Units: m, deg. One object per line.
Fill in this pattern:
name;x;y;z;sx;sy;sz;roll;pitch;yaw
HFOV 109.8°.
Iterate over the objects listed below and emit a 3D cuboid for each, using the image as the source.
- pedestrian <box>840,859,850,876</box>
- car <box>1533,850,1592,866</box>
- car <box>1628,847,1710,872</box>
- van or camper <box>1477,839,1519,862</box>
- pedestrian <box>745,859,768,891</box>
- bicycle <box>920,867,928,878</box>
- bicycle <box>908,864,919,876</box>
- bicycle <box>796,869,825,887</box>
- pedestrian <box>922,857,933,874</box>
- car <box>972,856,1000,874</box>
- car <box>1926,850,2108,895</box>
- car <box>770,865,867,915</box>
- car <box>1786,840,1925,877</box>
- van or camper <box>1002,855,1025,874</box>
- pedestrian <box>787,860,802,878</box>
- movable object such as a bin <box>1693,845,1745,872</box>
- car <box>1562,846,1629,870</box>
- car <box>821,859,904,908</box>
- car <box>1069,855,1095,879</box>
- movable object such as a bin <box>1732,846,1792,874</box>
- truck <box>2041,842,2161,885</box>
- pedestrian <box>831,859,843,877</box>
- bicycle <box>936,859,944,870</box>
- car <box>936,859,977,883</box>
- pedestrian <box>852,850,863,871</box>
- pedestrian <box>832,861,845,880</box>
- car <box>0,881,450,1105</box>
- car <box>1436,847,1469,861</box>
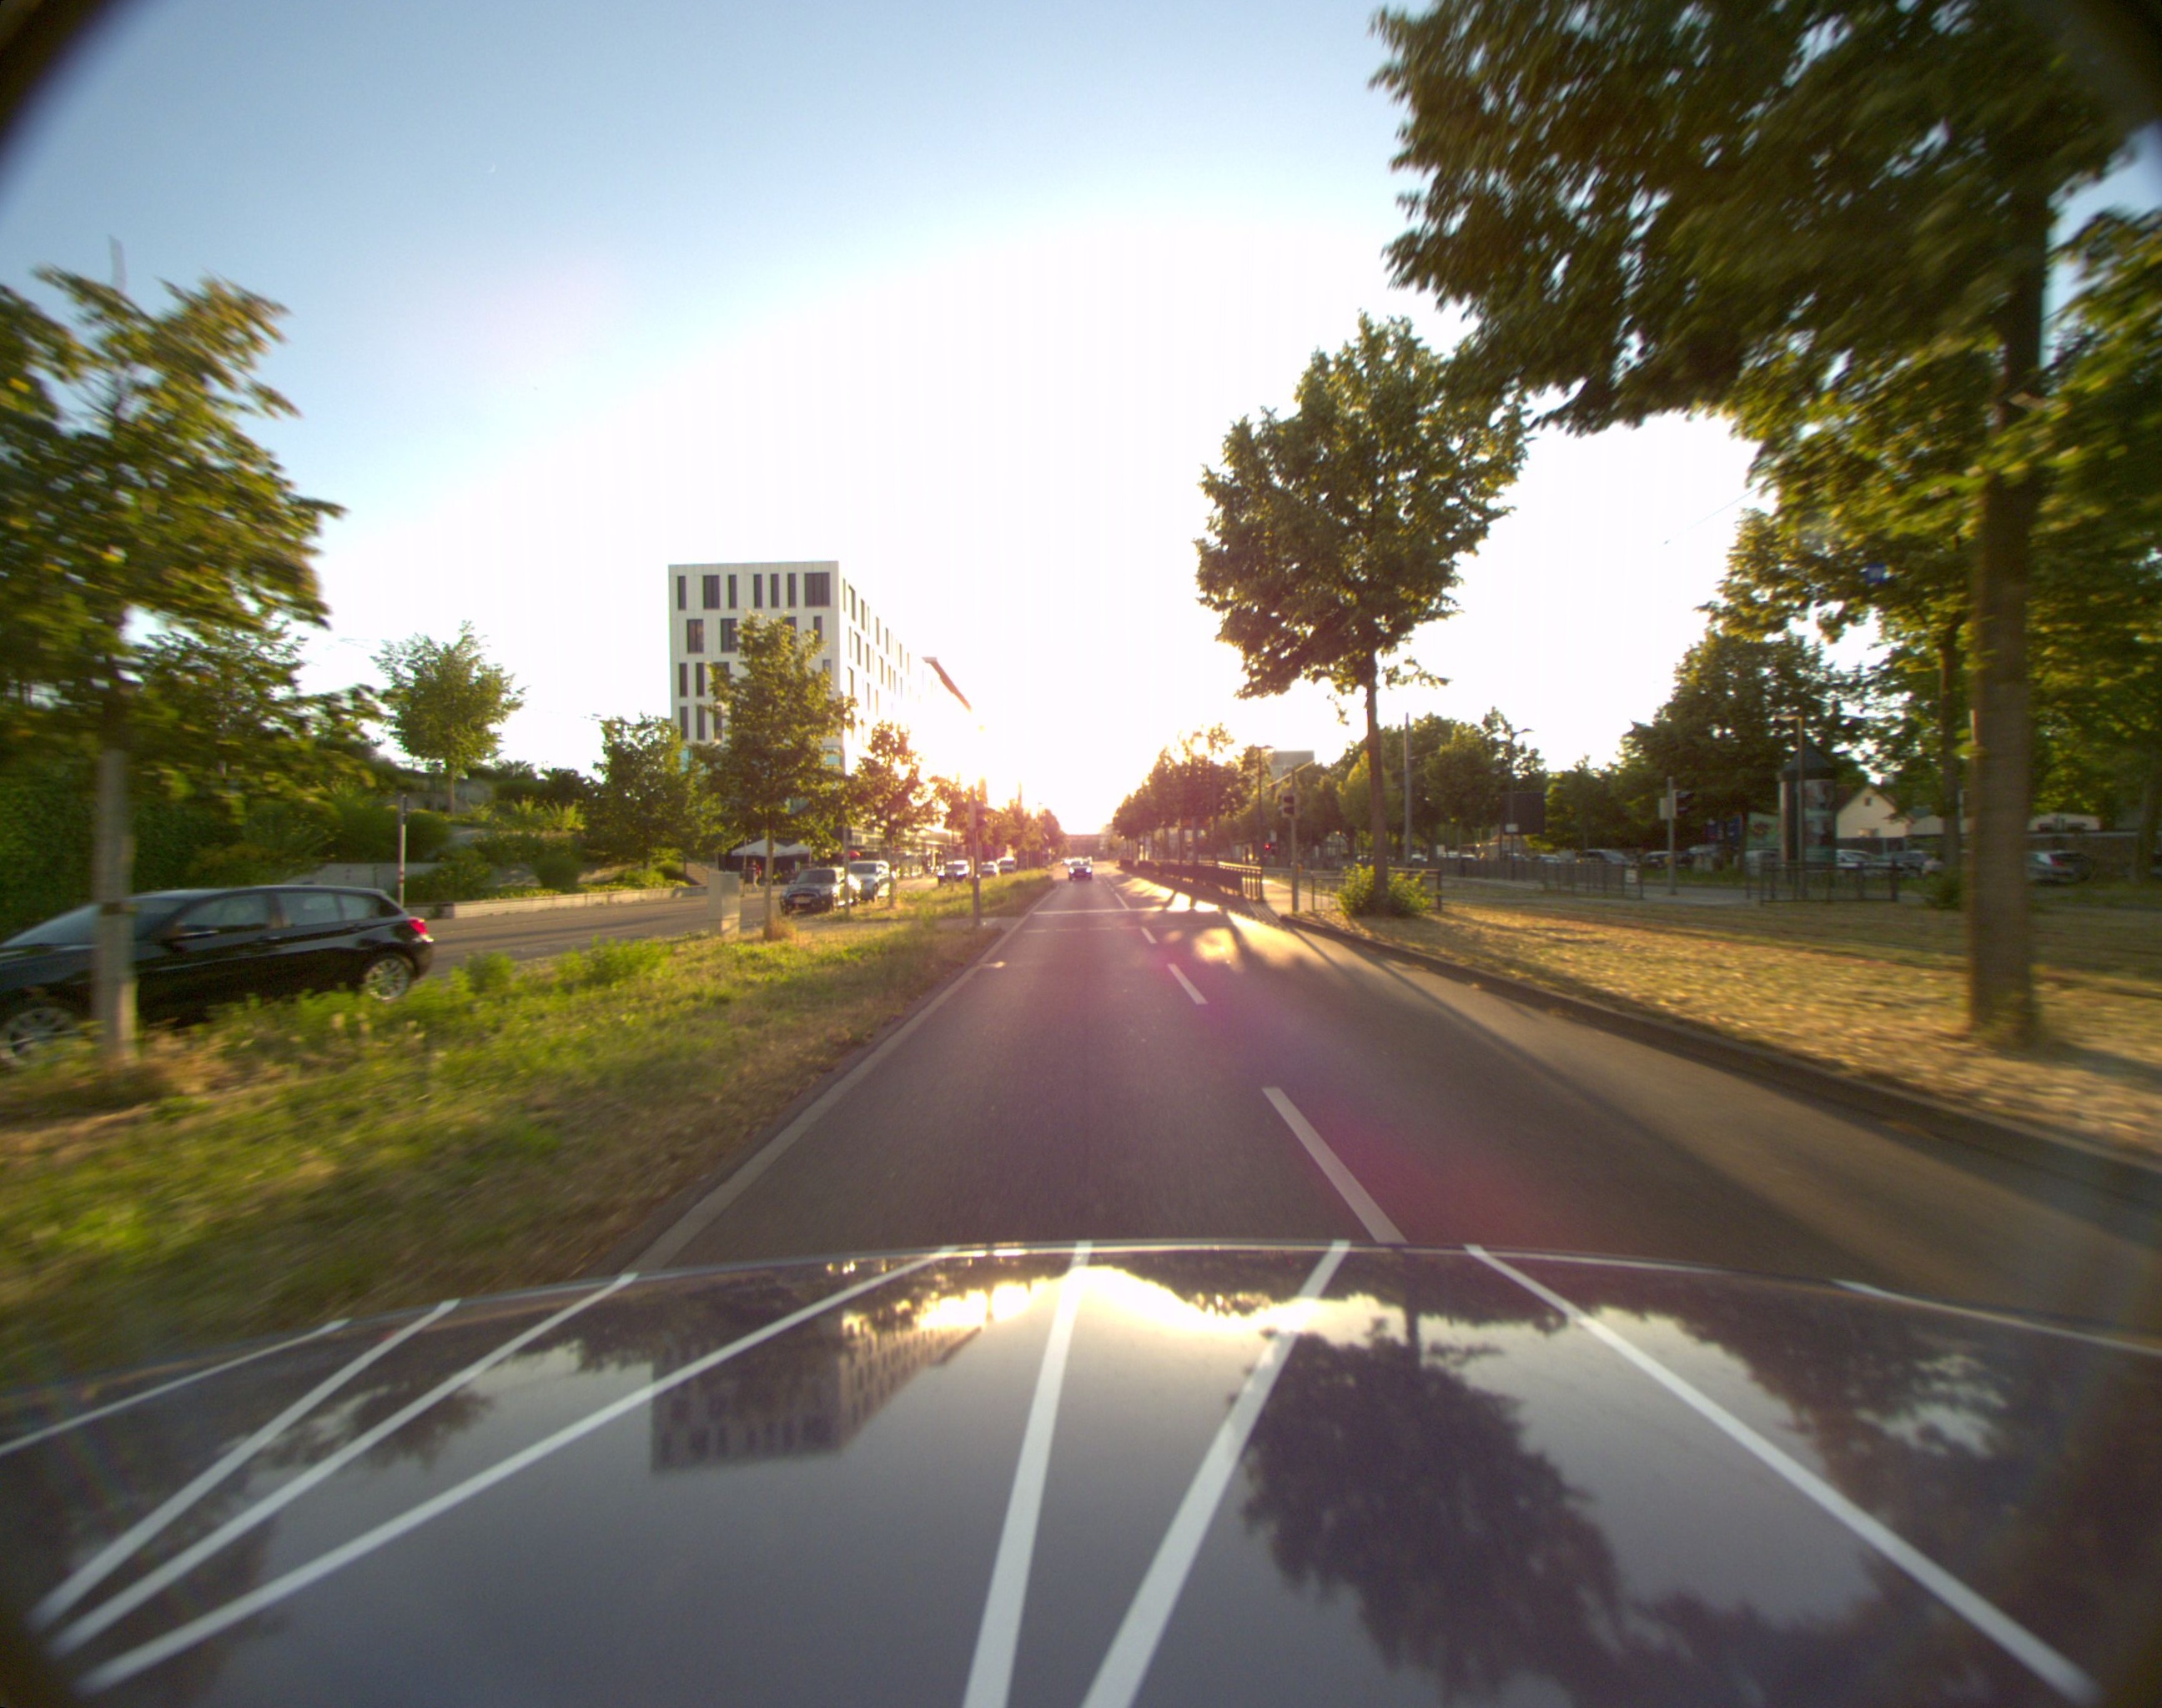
pedestrian;-18.063;1.063;58.095;0.685;1.283;0.628;1;1;-12
car;36.978;0.296;58.484;1.998;1.194;4.089;-1;0;2
car;35.891;0.322;46.507;1.998;1.440;4.000;-1;0;2
van or camper;48.713;-0.403;88.857;2.397;2.548;5.635;-1;0;7
pedestrian;-16.805;1.081;39.390;0.696;1.645;1.078;-1;1;0
bicycle;-14.907;1.770;72.145;0.598;1.034;2.072;1;0;-6
bicycle;-15.383;1.481;69.816;0.685;1.057;2.073;1;0;-2
bicycle;-16.166;1.434;45.489;0.544;1.037;1.915;-1;1;20
pedestrian;-16.946;1.283;83.781;1.029;1.872;0.947;-1;1;-1
car;-8.337;0.923;66.995;1.813;1.492;4.479;-1;0;0
car;34.327;0.617;28.059;1.814;1.522;4.054;-1;0;2
car;-8.524;1.117;25.056;1.754;1.390;4.000;-2;0;0
car;34.762;0.180;34.287;1.998;1.492;4.299;-1;0;2
van or camper;-7.503;1.173;84.656;1.963;1.908;4.830;-3;0;1
pedestrian;-21.055;1.104;55.795;0.745;1.258;0.771;-1;1;1
movable object such as a bin;34.895;0.248;41.605;1.412;1.403;1.701;-1;0;2
car;36.465;0.247;53.969;1.998;1.576;4.297;-1;0;2
car;-8.512;1.075;30.062;1.813;1.622;4.675;-4;0;0
car;0.048;0.899;55.704;1.828;1.625;4.000;-1;0;0
movable object such as a bin;34.632;0.315;38.686;1.556;1.364;1.724;-1;0;2
truck;43.679;0.342;31.704;1.998;1.680;4.294;-1;0;4
pedestrian;-18.333;1.043;57.036;0.664;1.283;0.683;1;1;-32
bicycle;-15.009;1.073;80.807;0.388;1.102;2.148;2;0;1
car;-8.548;1.113;52.627;1.924;1.492;5.410;-1;0;0
pedestrian;-19.033;0.528;64.705;0.661;1.749;0.685;1;1;18
pedestrian;-17.930;1.211;56.212;0.745;1.360;0.770;-1;1;-11
car;-8.704;1.117;7.042;1.812;1.492;4.369;-3;0;4
car;41.997;-0.035;85.990;1.998;1.521;4.001;-1;0;5
